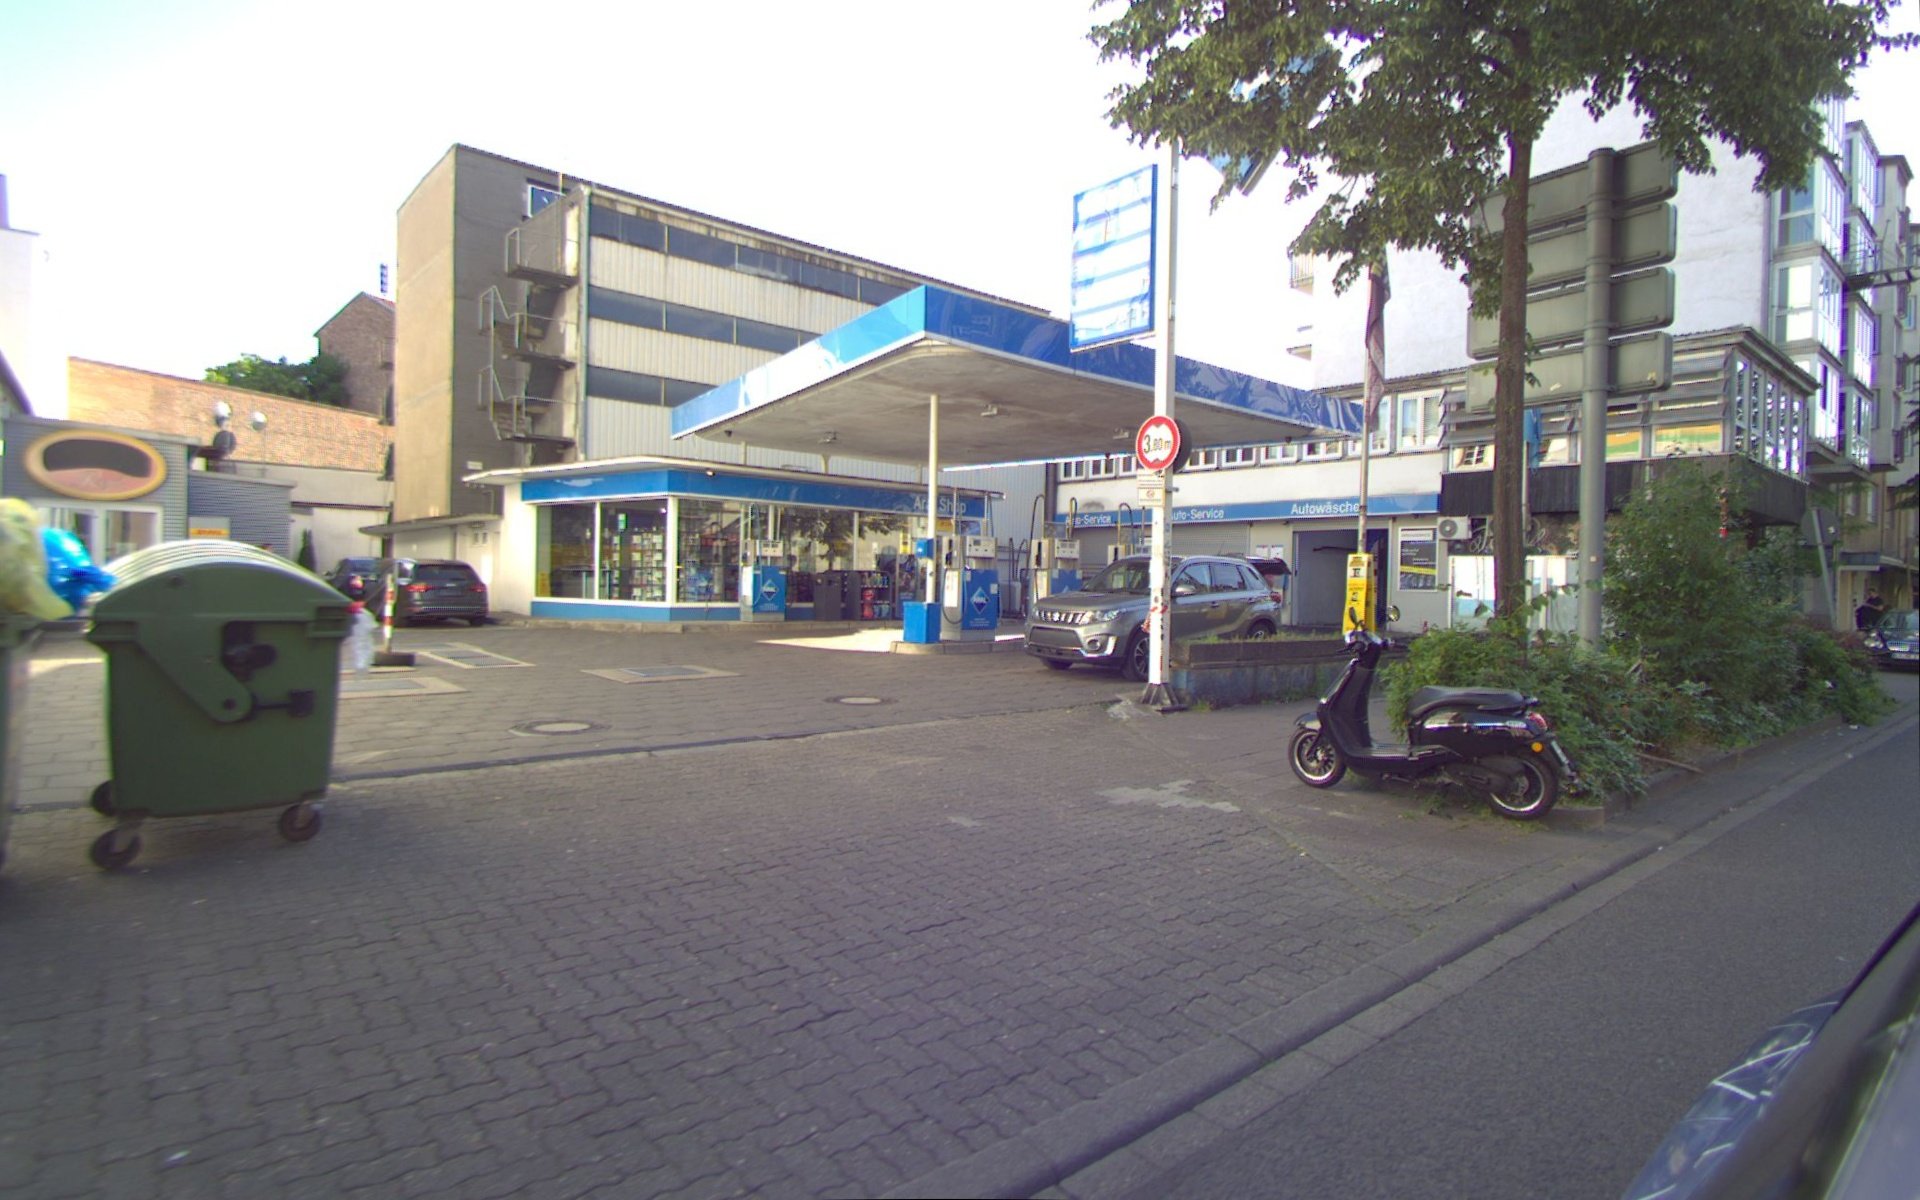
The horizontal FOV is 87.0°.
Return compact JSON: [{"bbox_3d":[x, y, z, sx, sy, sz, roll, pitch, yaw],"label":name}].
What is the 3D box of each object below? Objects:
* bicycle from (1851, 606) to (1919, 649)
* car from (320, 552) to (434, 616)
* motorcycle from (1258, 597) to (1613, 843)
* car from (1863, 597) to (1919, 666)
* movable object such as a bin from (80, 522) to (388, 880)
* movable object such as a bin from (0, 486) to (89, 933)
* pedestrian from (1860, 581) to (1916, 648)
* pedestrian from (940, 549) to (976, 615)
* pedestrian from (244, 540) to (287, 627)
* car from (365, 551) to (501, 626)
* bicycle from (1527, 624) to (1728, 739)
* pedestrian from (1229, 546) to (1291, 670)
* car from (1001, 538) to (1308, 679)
[{"bbox_3d":[27.245,0.796,29.783,0.670,1.163,1.681,1,1,7],"label":"bicycle"},{"bbox_3d":[-14.853,-0.448,25.674,1.963,1.482,3.998,1,2,-38],"label":"car"},{"bbox_3d":[3.127,0.684,6.747,1.973,1.346,0.899,2,1,38],"label":"motorcycle"},{"bbox_3d":[22.177,0.707,22.957,4.565,1.429,1.905,0,3,-41],"label":"car"},{"bbox_3d":[-3.769,0.413,5.230,1.156,1.549,1.273,1,2,-42],"label":"movable object such as a bin"},{"bbox_3d":[-4.294,0.382,3.841,1.472,1.648,1.207,0,2,-42],"label":"movable object such as a bin"},{"bbox_3d":[27.778,0.413,30.306,0.745,1.960,0.930,1,1,-15],"label":"pedestrian"},{"bbox_3d":[-0.053,-0.444,25.088,0.610,1.597,0.602,3,2,45],"label":"pedestrian"},{"bbox_3d":[-13.366,-0.324,19.482,0.545,1.657,0.538,2,1,39],"label":"pedestrian"},{"bbox_3d":[-11.695,-0.291,22.338,1.963,1.482,3.998,1,2,-38],"label":"car"},{"bbox_3d":[6.277,0.759,9.540,1.638,1.001,0.437,2,1,-5],"label":"bicycle"},{"bbox_3d":[4.663,0.109,15.723,0.684,1.872,0.701,2,1,34],"label":"pedestrian"},{"bbox_3d":[2.784,0.070,14.059,4.216,1.668,1.905,0,2,-39],"label":"car"}]
